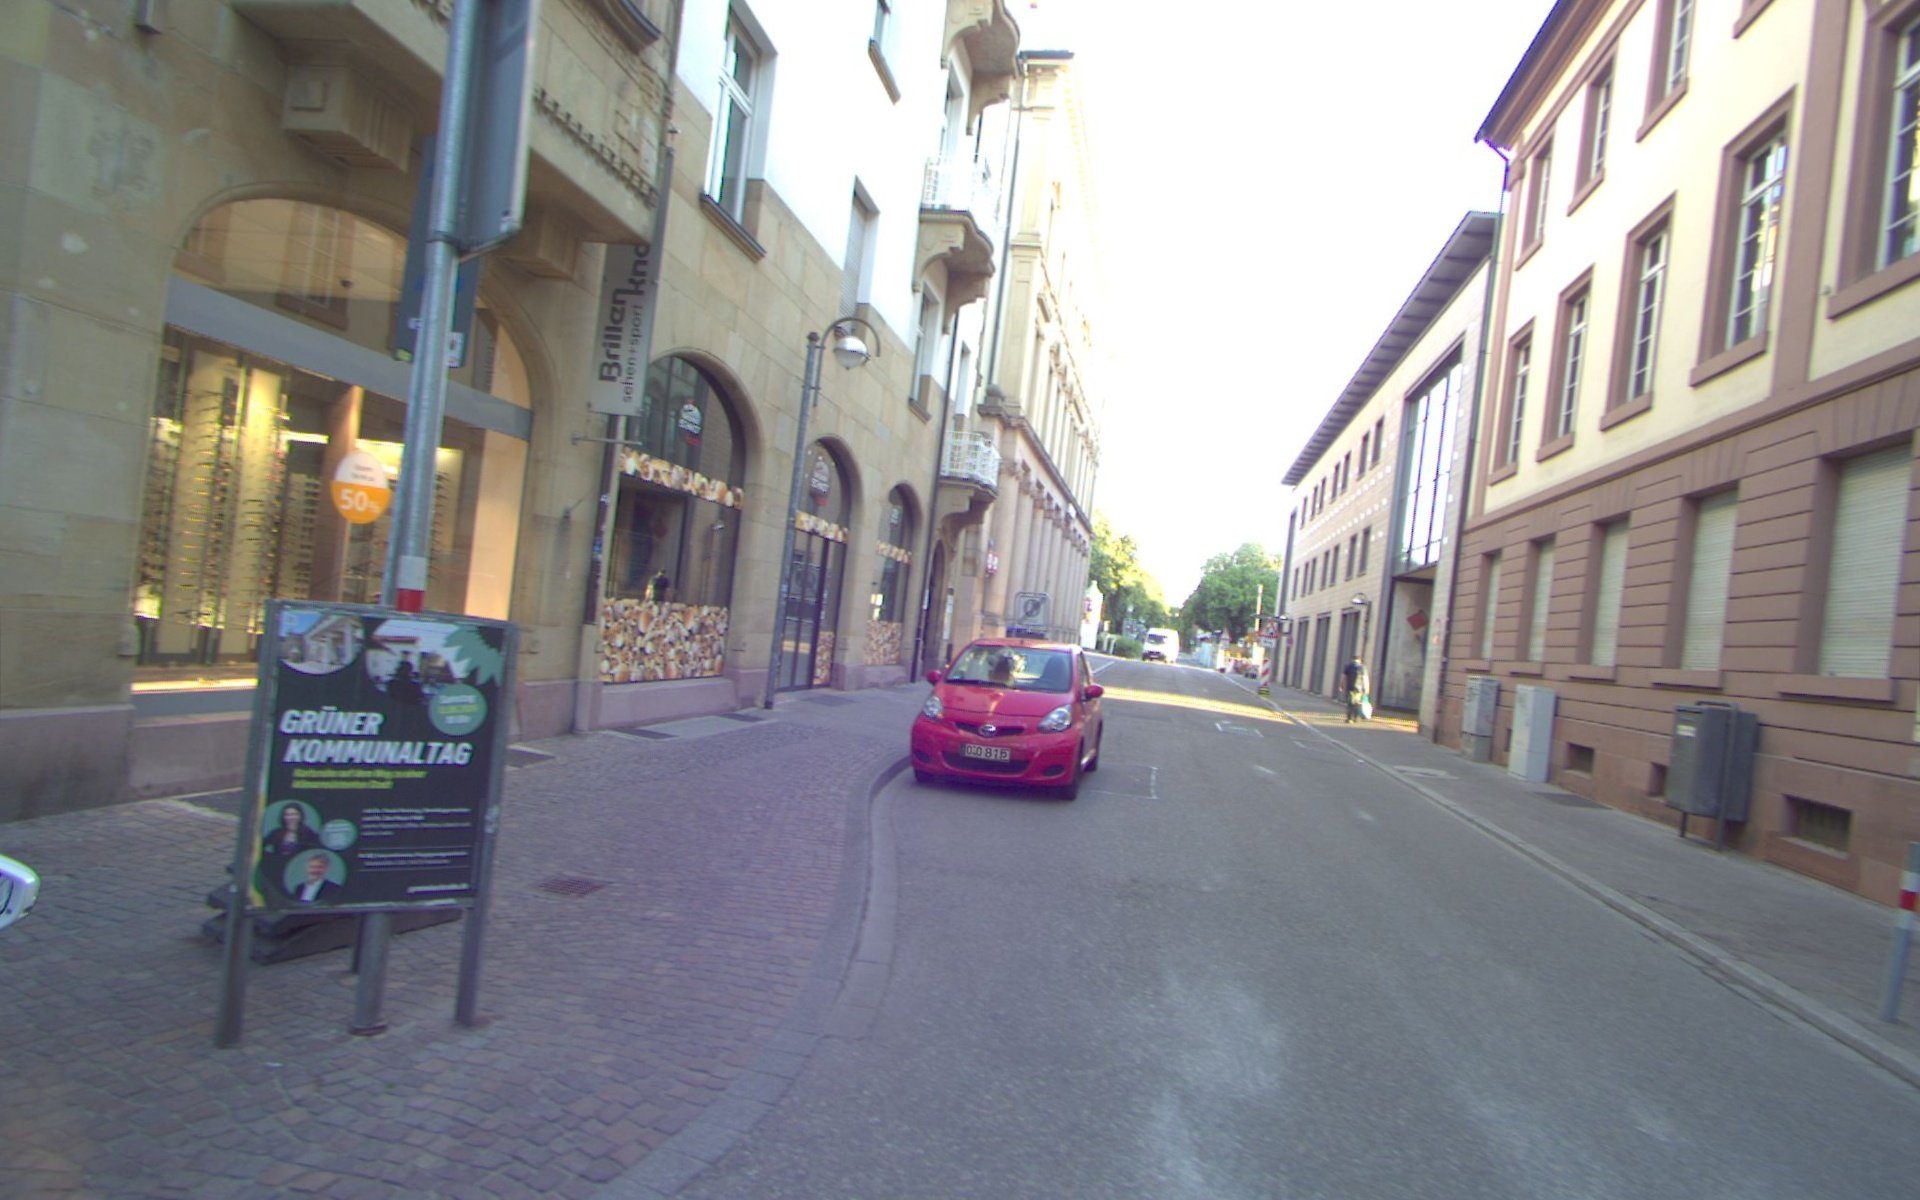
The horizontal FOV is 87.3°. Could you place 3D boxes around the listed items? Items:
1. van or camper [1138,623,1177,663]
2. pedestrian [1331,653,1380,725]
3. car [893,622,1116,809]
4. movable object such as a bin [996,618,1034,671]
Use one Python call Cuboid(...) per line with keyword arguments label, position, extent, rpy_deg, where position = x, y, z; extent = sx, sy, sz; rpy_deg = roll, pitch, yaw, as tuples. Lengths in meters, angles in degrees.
Cuboid(label="van or camper", position=(14.734, 3.187, 74.772), extent=(2.184, 2.616, 6.375), rpy_deg=(7, 0, 14))
Cuboid(label="pedestrian", position=(10.489, 2.354, 26.722), extent=(0.984, 1.825, 0.882), rpy_deg=(3, -1, 11))
Cuboid(label="car", position=(0.674, 1.087, 10.780), extent=(1.631, 1.487, 3.935), rpy_deg=(4, -1, 13))
Cuboid(label="movable object such as a bin", position=(1.747, 1.403, 31.695), extent=(0.816, 1.521, 1.292), rpy_deg=(8, 0, 12))
